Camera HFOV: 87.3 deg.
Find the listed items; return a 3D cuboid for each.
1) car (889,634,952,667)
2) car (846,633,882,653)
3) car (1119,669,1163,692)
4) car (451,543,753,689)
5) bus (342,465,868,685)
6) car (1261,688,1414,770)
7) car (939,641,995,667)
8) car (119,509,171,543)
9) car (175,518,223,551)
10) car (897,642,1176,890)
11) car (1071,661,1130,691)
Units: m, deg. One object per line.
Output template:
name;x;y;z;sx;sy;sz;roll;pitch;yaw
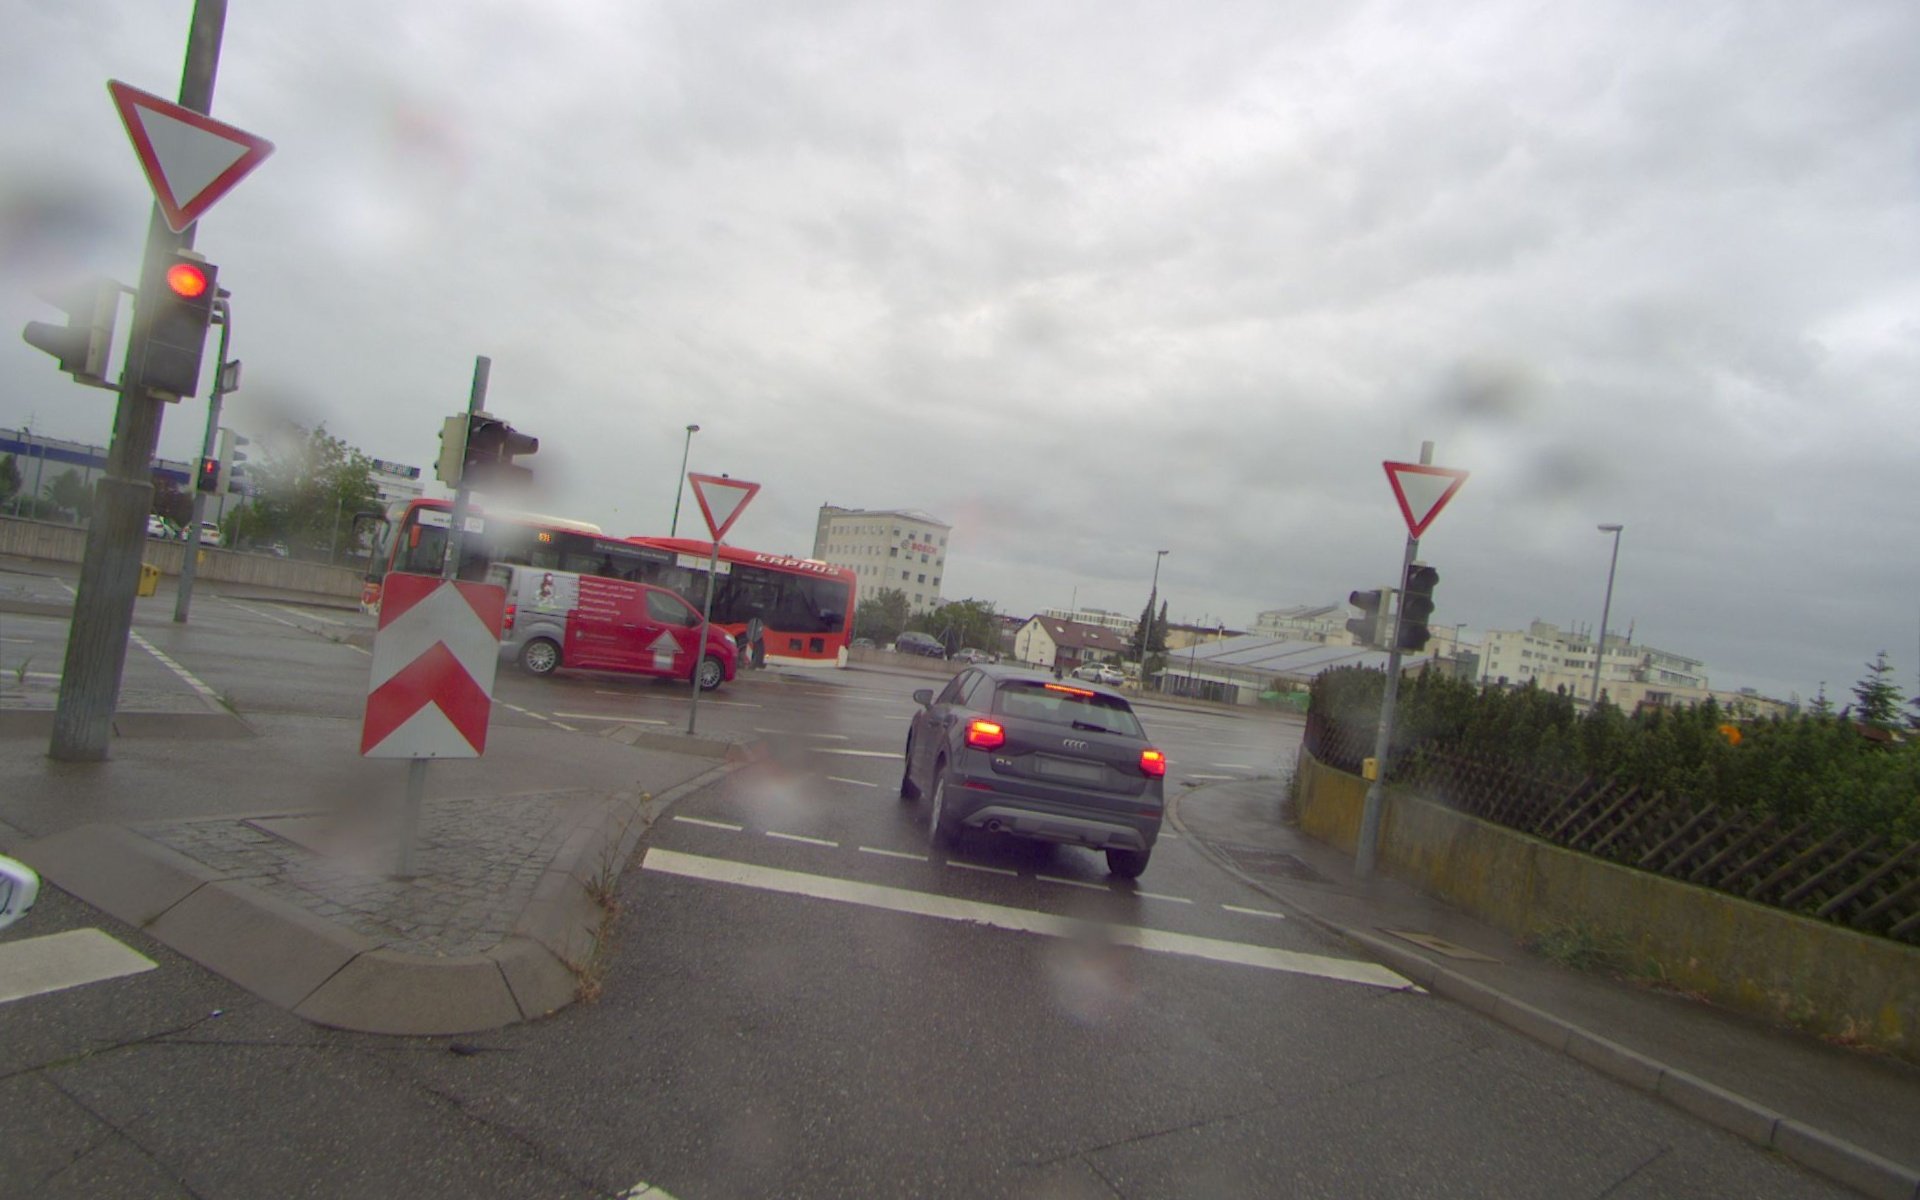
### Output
car;-2.464;3.100;61.939;1.983;1.494;3.964;10;-2;-34
car;-9.599;4.273;100.333;1.979;1.494;3.971;9;-2;-29
car;17.996;8.029;100.106;3.760;1.771;1.887;9;-2;-29
car;-6.573;0.369;18.834;4.759;2.037;1.976;10;-2;-43
bus;-8.358;-0.277;25.848;12.245;3.357;3.039;12;-3;-41
car;11.613;3.985;30.857;4.597;1.698;2.014;12;-1;-36
car;0.554;4.387;82.208;3.951;1.494;1.989;9;-2;-24
car;-45.607;-4.122;56.345;1.985;1.495;3.959;10;-2;-38
car;-43.887;-3.796;58.013;1.986;1.495;3.958;10;-2;-38
car;0.448;1.296;9.244;1.660;1.512;3.937;8;-2;-6
car;9.746;5.264;70.035;1.979;1.494;3.971;9;-2;-29
